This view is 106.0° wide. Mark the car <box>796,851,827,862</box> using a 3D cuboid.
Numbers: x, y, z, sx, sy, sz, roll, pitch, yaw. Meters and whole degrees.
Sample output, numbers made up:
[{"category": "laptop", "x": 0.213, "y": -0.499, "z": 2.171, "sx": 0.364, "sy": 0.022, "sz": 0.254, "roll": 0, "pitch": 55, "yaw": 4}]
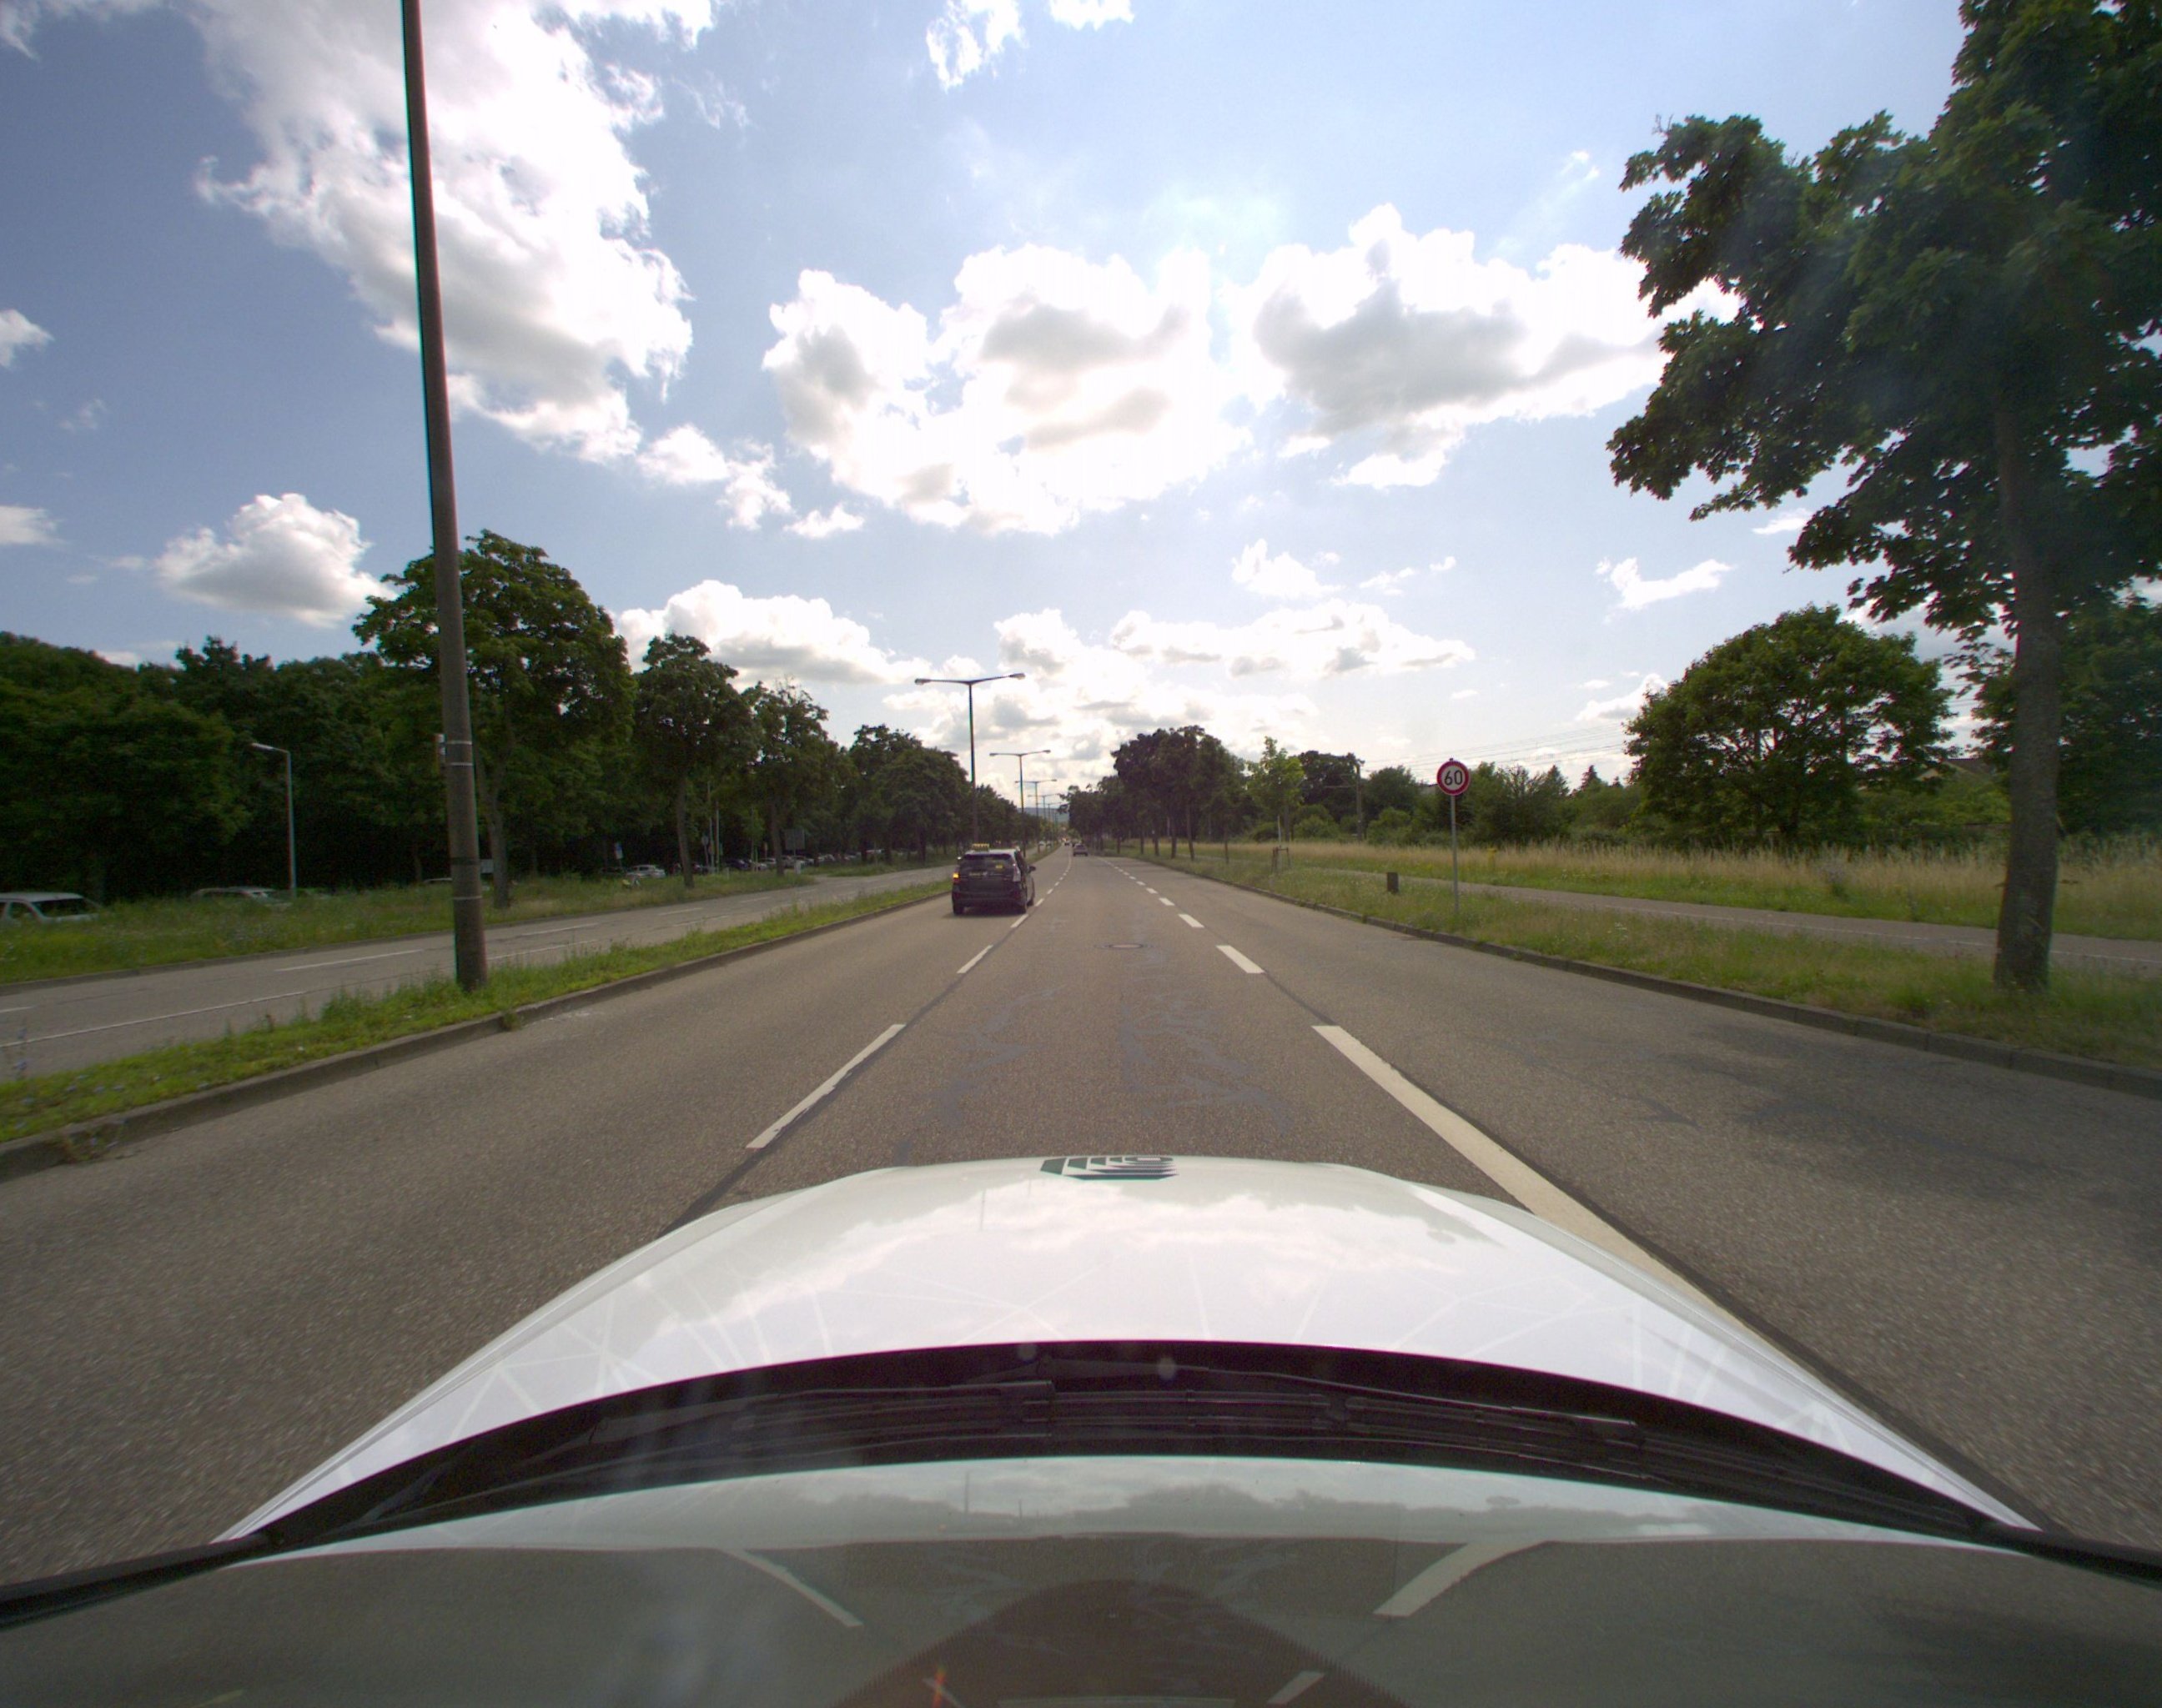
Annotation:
[{"category": "car", "x": -38.478, "y": 0.340, "z": 116.348, "sx": 3.768, "sy": 1.387, "sz": 1.788, "roll": -1, "pitch": 1, "yaw": 3}]

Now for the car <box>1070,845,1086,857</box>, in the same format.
[{"category": "car", "x": -0.430, "y": -0.453, "z": 111.872, "sx": 1.988, "sy": 1.508, "sz": 3.998, "roll": -1, "pitch": 2, "yaw": -1}]

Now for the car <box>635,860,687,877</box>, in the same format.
[{"category": "car", "x": -38.082, "y": 1.332, "z": 73.862, "sx": 3.773, "sy": 1.386, "sz": 1.785, "roll": -1, "pitch": 1, "yaw": -1}]

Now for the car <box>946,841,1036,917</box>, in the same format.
[{"category": "car", "x": -2.185, "y": 0.551, "z": 20.790, "sx": 1.773, "sy": 1.683, "sz": 4.001, "roll": -1, "pitch": 2, "yaw": 0}]

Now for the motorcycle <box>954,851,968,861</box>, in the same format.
[{"category": "motorcycle", "x": -10.852, "y": 0.191, "z": 73.760, "sx": 0.749, "sy": 0.772, "sz": 2.672, "roll": -1, "pitch": 2, "yaw": 1}]

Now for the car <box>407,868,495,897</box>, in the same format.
[{"category": "car", "x": -36.851, "y": 1.647, "z": 47.695, "sx": 3.771, "sy": 1.508, "sz": 1.786, "roll": -1, "pitch": 1, "yaw": 1}]

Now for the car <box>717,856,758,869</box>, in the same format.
[{"category": "car", "x": -38.517, "y": 0.964, "z": 91.264, "sx": 3.768, "sy": 1.387, "sz": 1.788, "roll": -1, "pitch": 1, "yaw": 3}]

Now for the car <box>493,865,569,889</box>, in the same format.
[{"category": "car", "x": -36.531, "y": 1.520, "z": 54.149, "sx": 3.771, "sy": 1.508, "sz": 1.786, "roll": -1, "pitch": 1, "yaw": 1}]

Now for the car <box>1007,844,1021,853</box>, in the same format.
[{"category": "car", "x": -11.759, "y": -0.976, "z": 142.416, "sx": 1.871, "sy": 1.508, "sz": 3.802, "roll": -1, "pitch": 2, "yaw": 3}]

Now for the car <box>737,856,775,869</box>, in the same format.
[{"category": "car", "x": -38.397, "y": 0.965, "z": 96.325, "sx": 3.768, "sy": 1.387, "sz": 1.788, "roll": -1, "pitch": 1, "yaw": 3}]

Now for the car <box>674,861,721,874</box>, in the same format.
[{"category": "car", "x": -38.193, "y": 1.346, "z": 81.107, "sx": 3.773, "sy": 1.247, "sz": 1.785, "roll": -1, "pitch": 1, "yaw": -1}]

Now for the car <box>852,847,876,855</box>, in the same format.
[{"category": "car", "x": -39.370, "y": -0.573, "z": 147.635, "sx": 3.768, "sy": 1.387, "sz": 1.788, "roll": -1, "pitch": 1, "yaw": 3}]

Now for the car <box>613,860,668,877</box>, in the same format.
[{"category": "car", "x": -38.271, "y": 1.253, "z": 70.809, "sx": 3.773, "sy": 1.428, "sz": 1.785, "roll": -1, "pitch": 1, "yaw": -1}]

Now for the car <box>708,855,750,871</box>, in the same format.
[{"category": "car", "x": -38.311, "y": 0.976, "z": 88.665, "sx": 3.768, "sy": 1.568, "sz": 1.788, "roll": -1, "pitch": 1, "yaw": 3}]

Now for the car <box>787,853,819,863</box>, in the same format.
[{"category": "car", "x": -38.459, "y": 0.541, "z": 112.627, "sx": 3.768, "sy": 1.387, "sz": 1.788, "roll": -1, "pitch": 1, "yaw": 3}]

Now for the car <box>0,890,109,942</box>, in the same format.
[{"category": "car", "x": -37.817, "y": 2.196, "z": 28.922, "sx": 3.976, "sy": 1.625, "sz": 1.999, "roll": -1, "pitch": 1, "yaw": -2}]

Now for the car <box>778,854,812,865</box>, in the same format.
[{"category": "car", "x": -37.970, "y": 0.708, "z": 108.228, "sx": 3.768, "sy": 1.387, "sz": 1.788, "roll": -1, "pitch": 1, "yaw": 3}]

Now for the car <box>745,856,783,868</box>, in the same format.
[{"category": "car", "x": -38.385, "y": 0.968, "z": 98.700, "sx": 3.768, "sy": 1.387, "sz": 1.788, "roll": -1, "pitch": 1, "yaw": 3}]

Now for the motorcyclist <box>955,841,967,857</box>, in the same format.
[{"category": "motorcyclist", "x": -10.851, "y": -0.427, "z": 73.706, "sx": 0.824, "sy": 1.414, "sz": 1.329, "roll": -1, "pitch": 1, "yaw": 0}]

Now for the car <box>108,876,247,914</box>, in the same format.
[{"category": "car", "x": -41.248, "y": 1.853, "z": 37.261, "sx": 3.976, "sy": 1.519, "sz": 1.999, "roll": -1, "pitch": 1, "yaw": -2}]

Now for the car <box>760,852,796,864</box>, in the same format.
[{"category": "car", "x": -38.689, "y": 0.482, "z": 104.038, "sx": 3.768, "sy": 1.387, "sz": 1.788, "roll": -1, "pitch": 1, "yaw": 3}]

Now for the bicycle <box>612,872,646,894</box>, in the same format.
[{"category": "bicycle", "x": -22.655, "y": 1.451, "z": 40.867, "sx": 0.565, "sy": 0.978, "sz": 1.918, "roll": -2, "pitch": 1, "yaw": 0}]

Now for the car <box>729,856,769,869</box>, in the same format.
[{"category": "car", "x": -38.380, "y": 0.932, "z": 94.224, "sx": 3.768, "sy": 1.387, "sz": 1.788, "roll": -1, "pitch": 1, "yaw": 3}]
